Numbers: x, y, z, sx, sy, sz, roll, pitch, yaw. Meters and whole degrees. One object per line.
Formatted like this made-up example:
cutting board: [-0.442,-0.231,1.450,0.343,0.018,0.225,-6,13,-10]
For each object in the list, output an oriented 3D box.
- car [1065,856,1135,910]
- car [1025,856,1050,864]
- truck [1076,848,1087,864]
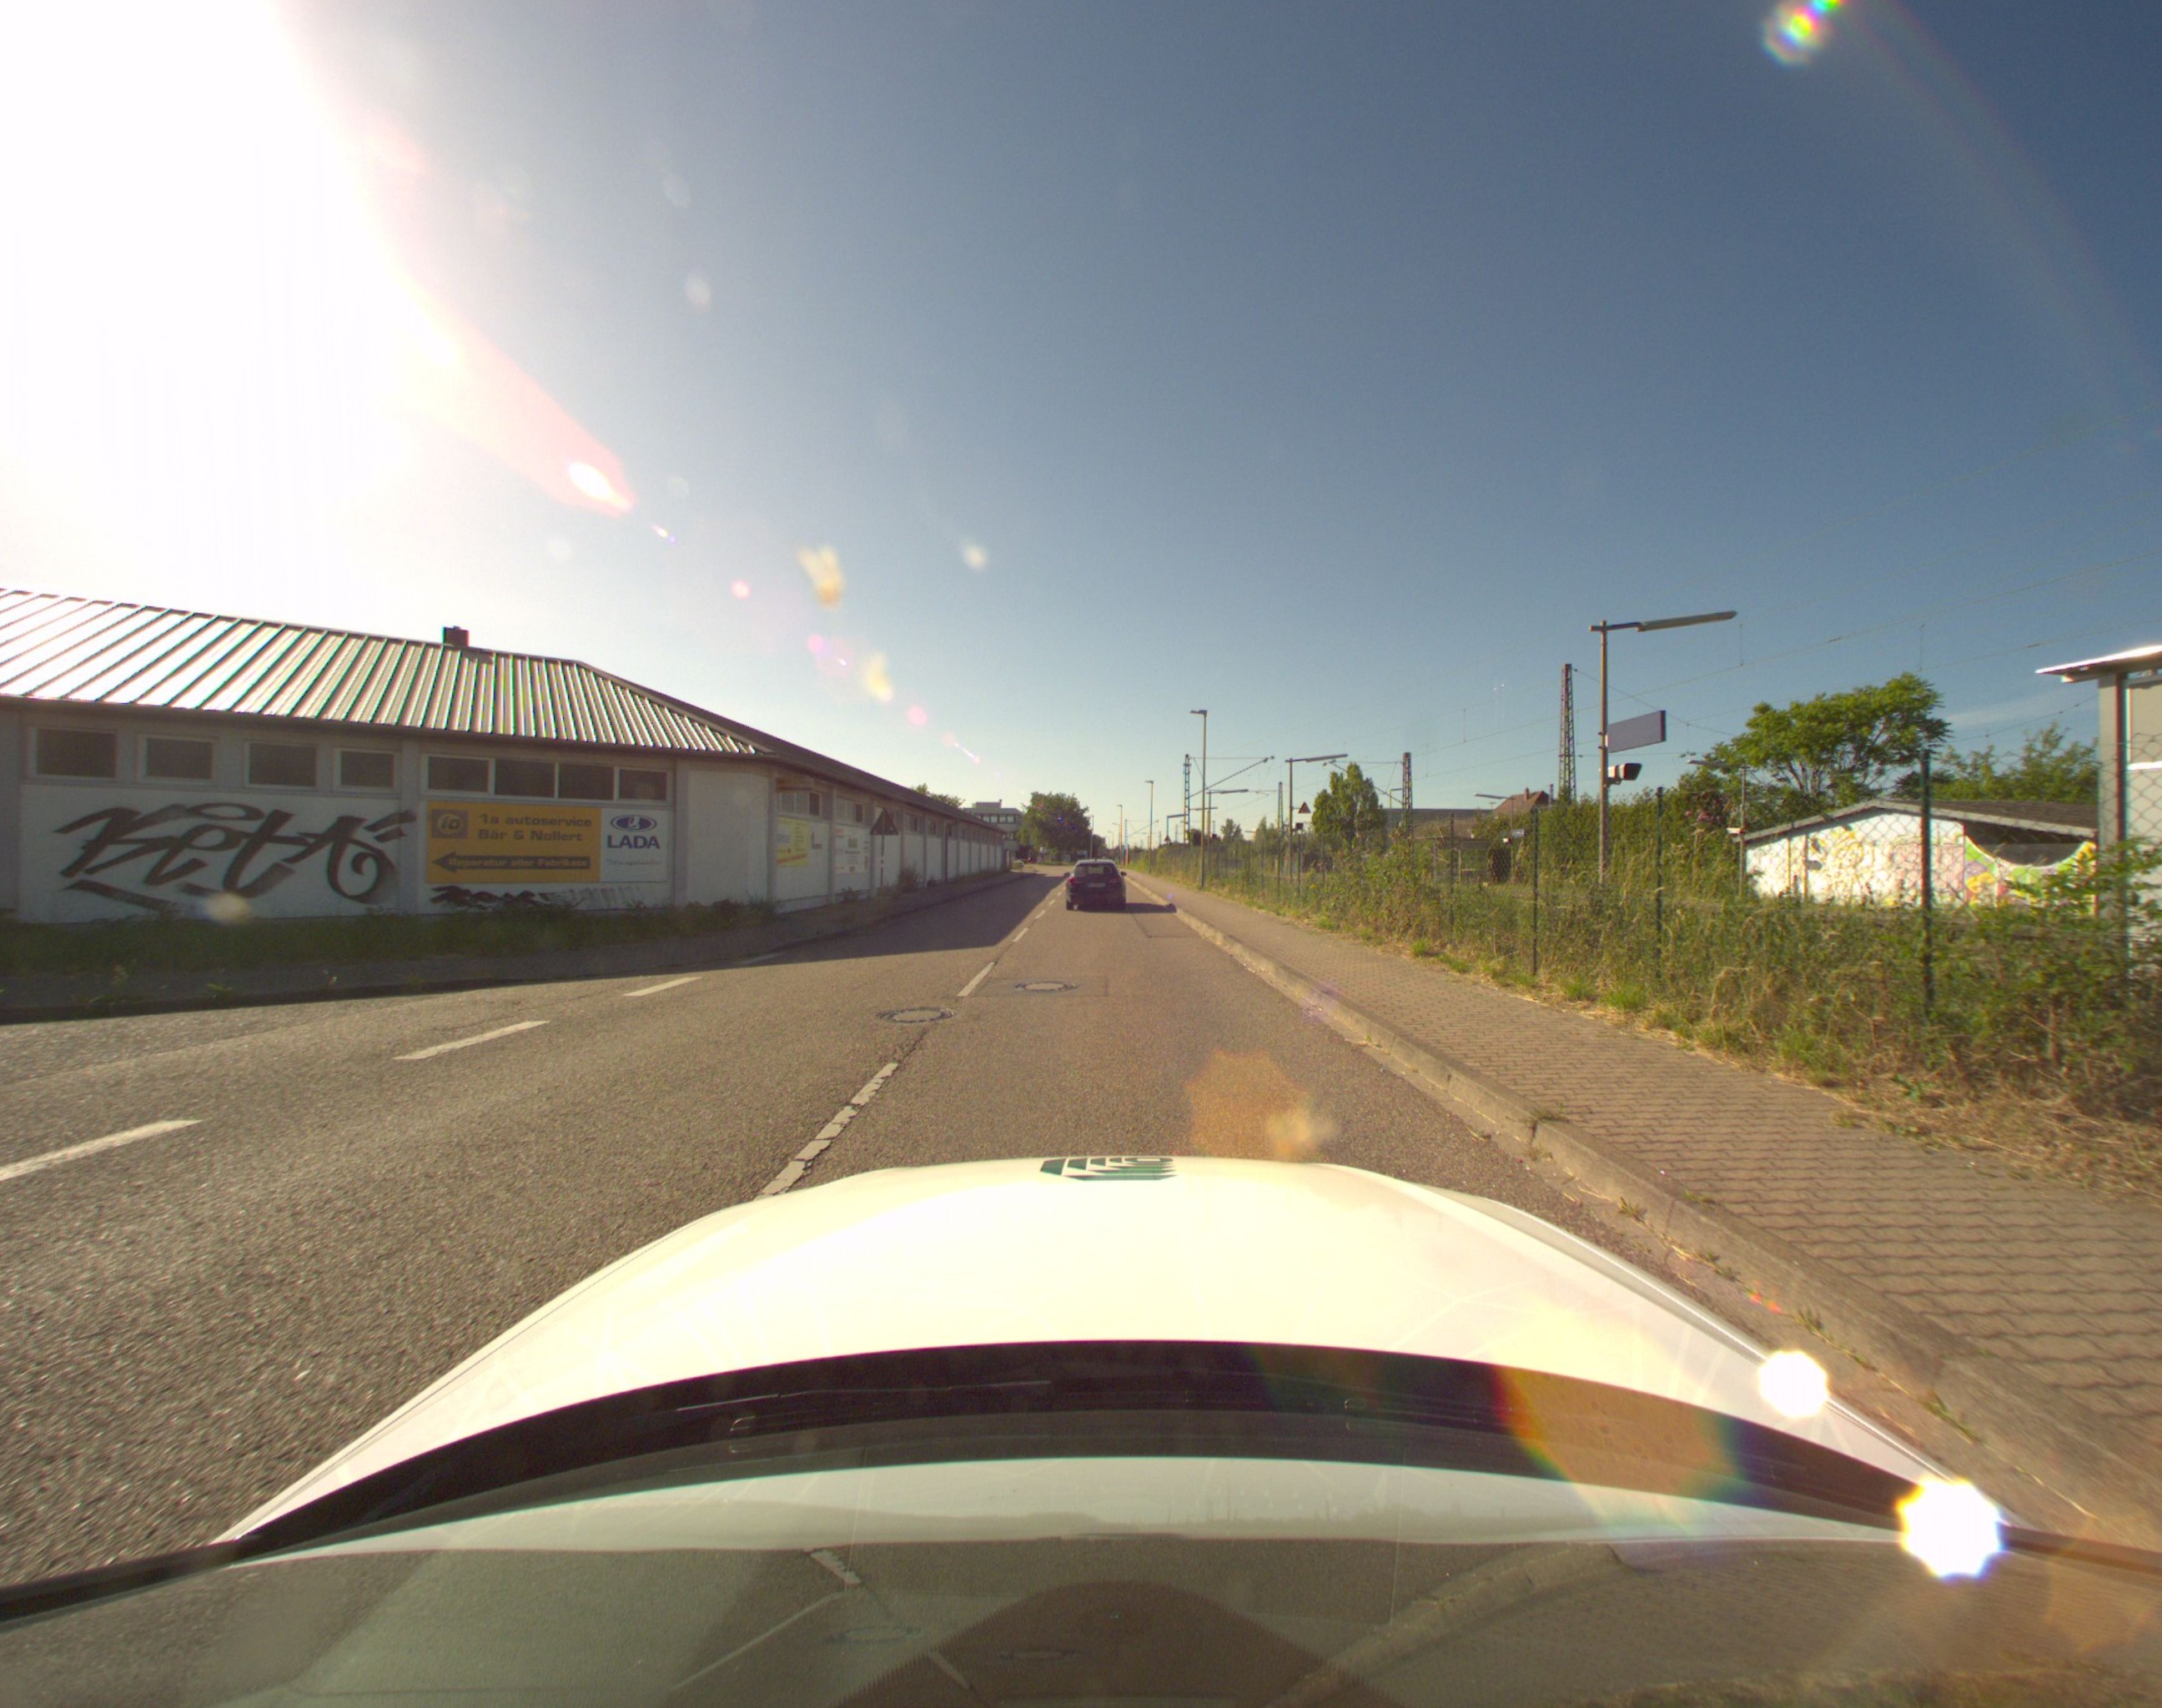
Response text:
car: [0.556,0.828,25.152,1.936,1.489,4.565,-1,-1,0]
car: [-8.848,1.179,165.004,4.887,1.484,2.003,0,1,5]
truck: [0.106,0.530,209.287,2.605,3.885,13.525,1,0,-1]
